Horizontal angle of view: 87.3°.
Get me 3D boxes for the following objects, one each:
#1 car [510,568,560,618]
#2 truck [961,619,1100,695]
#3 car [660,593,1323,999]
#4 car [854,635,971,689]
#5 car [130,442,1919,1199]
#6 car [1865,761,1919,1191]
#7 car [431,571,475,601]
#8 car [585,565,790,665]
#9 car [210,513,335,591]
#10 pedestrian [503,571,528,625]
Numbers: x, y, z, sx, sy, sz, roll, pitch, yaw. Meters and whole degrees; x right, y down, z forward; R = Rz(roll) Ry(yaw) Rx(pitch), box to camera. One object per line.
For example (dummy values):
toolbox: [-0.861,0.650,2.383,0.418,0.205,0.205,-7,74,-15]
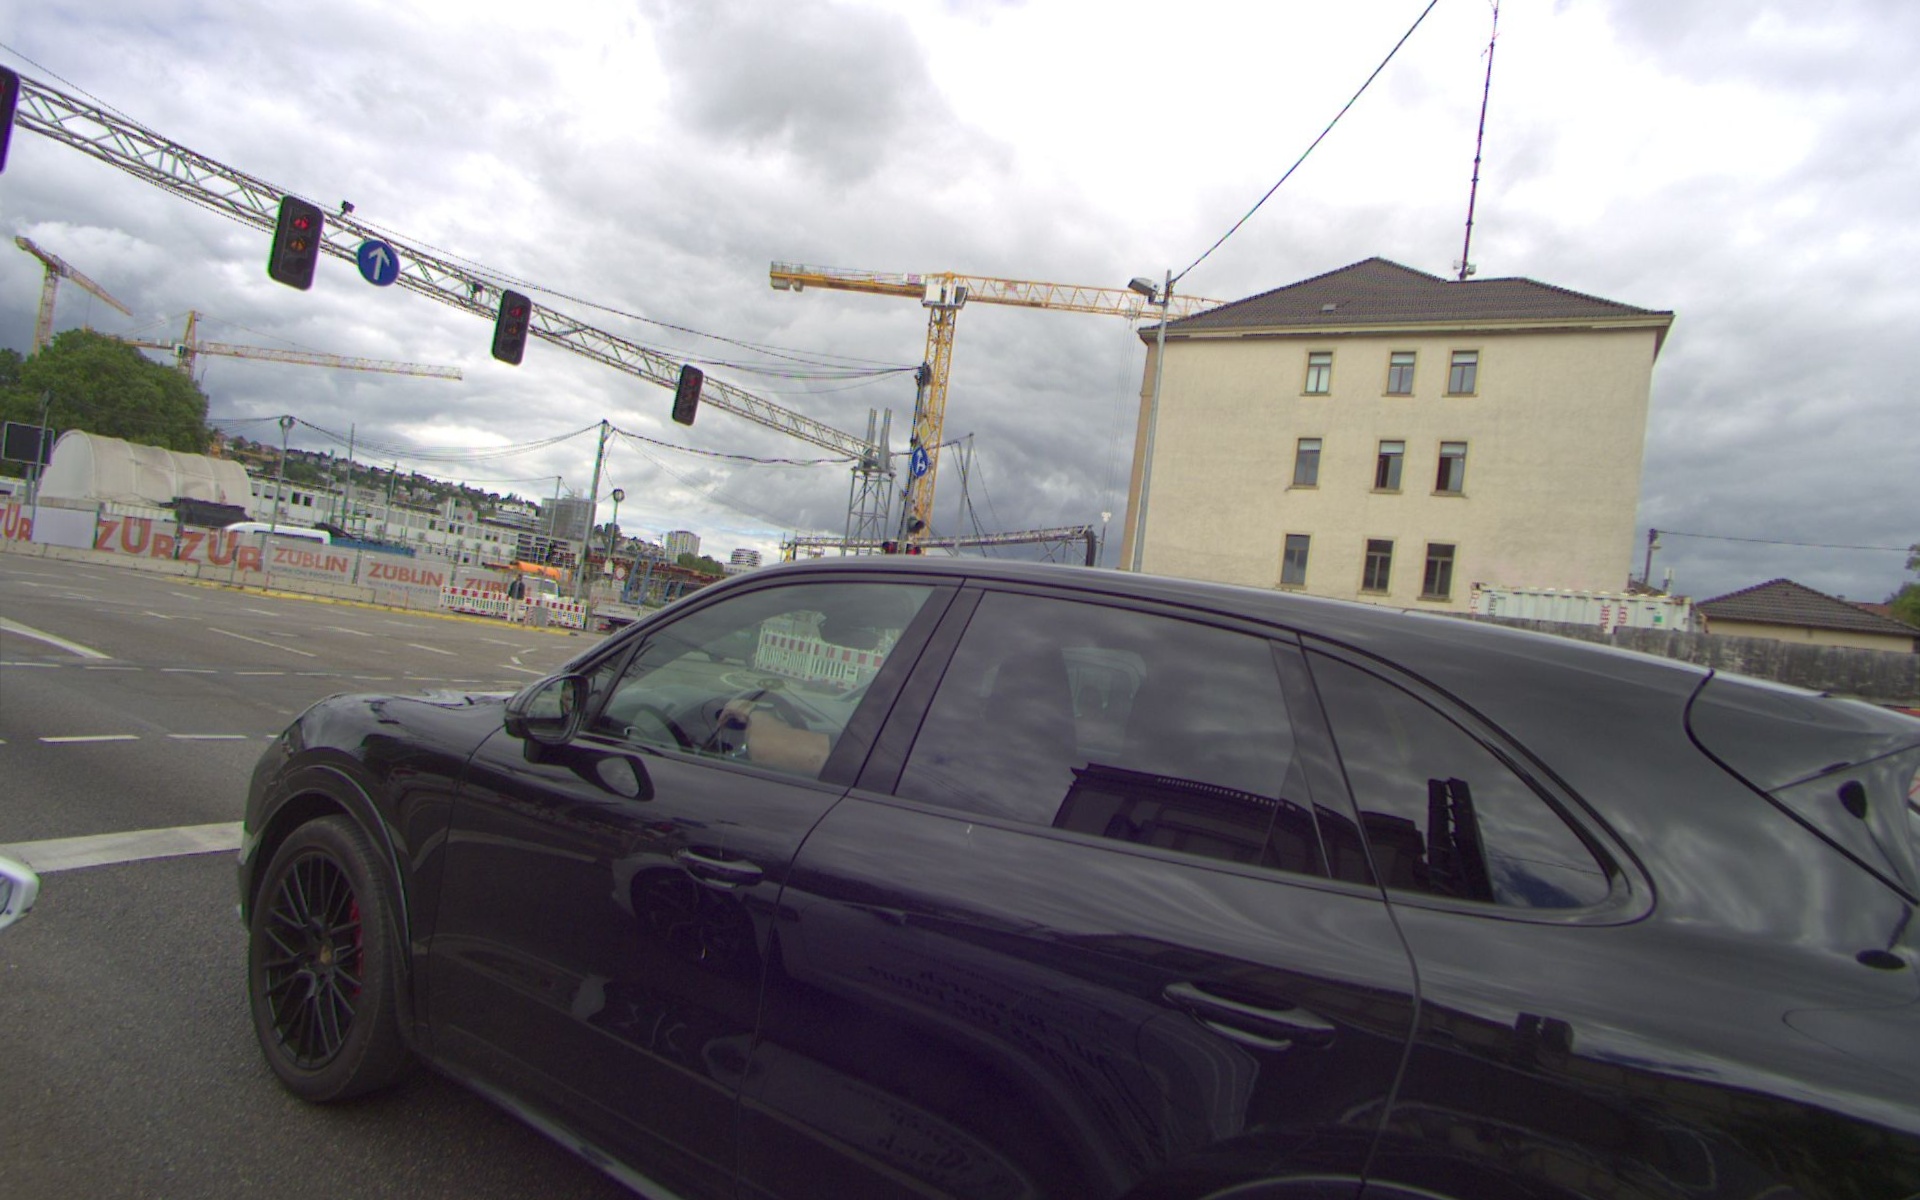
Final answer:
car: [-19.165,-0.318,45.303,1.757,1.976,3.108,8,-2,-25]
truck: [3.613,2.876,48.485,2.583,2.835,9.001,7,-2,31]
car: [0.107,1.033,6.668,3.934,1.644,1.679,6,-2,32]
car: [-1.755,2.458,39.238,1.988,1.643,4.816,6,-2,33]
car: [-0.109,0.667,2.709,4.410,1.735,1.828,6,-2,32]
car: [5.765,1.676,2.575,4.729,1.644,1.828,6,-2,32]
car: [-32.290,-0.883,64.052,1.668,1.545,3.960,8,-2,-37]
car: [-8.120,0.548,30.653,2.266,2.331,5.767,6,-2,33]
car: [-29.575,-2.034,43.376,1.660,2.692,3.979,6,-2,45]
pedestrian: [-17.246,-0.072,39.029,0.580,1.999,0.433,8,-1,-17]
